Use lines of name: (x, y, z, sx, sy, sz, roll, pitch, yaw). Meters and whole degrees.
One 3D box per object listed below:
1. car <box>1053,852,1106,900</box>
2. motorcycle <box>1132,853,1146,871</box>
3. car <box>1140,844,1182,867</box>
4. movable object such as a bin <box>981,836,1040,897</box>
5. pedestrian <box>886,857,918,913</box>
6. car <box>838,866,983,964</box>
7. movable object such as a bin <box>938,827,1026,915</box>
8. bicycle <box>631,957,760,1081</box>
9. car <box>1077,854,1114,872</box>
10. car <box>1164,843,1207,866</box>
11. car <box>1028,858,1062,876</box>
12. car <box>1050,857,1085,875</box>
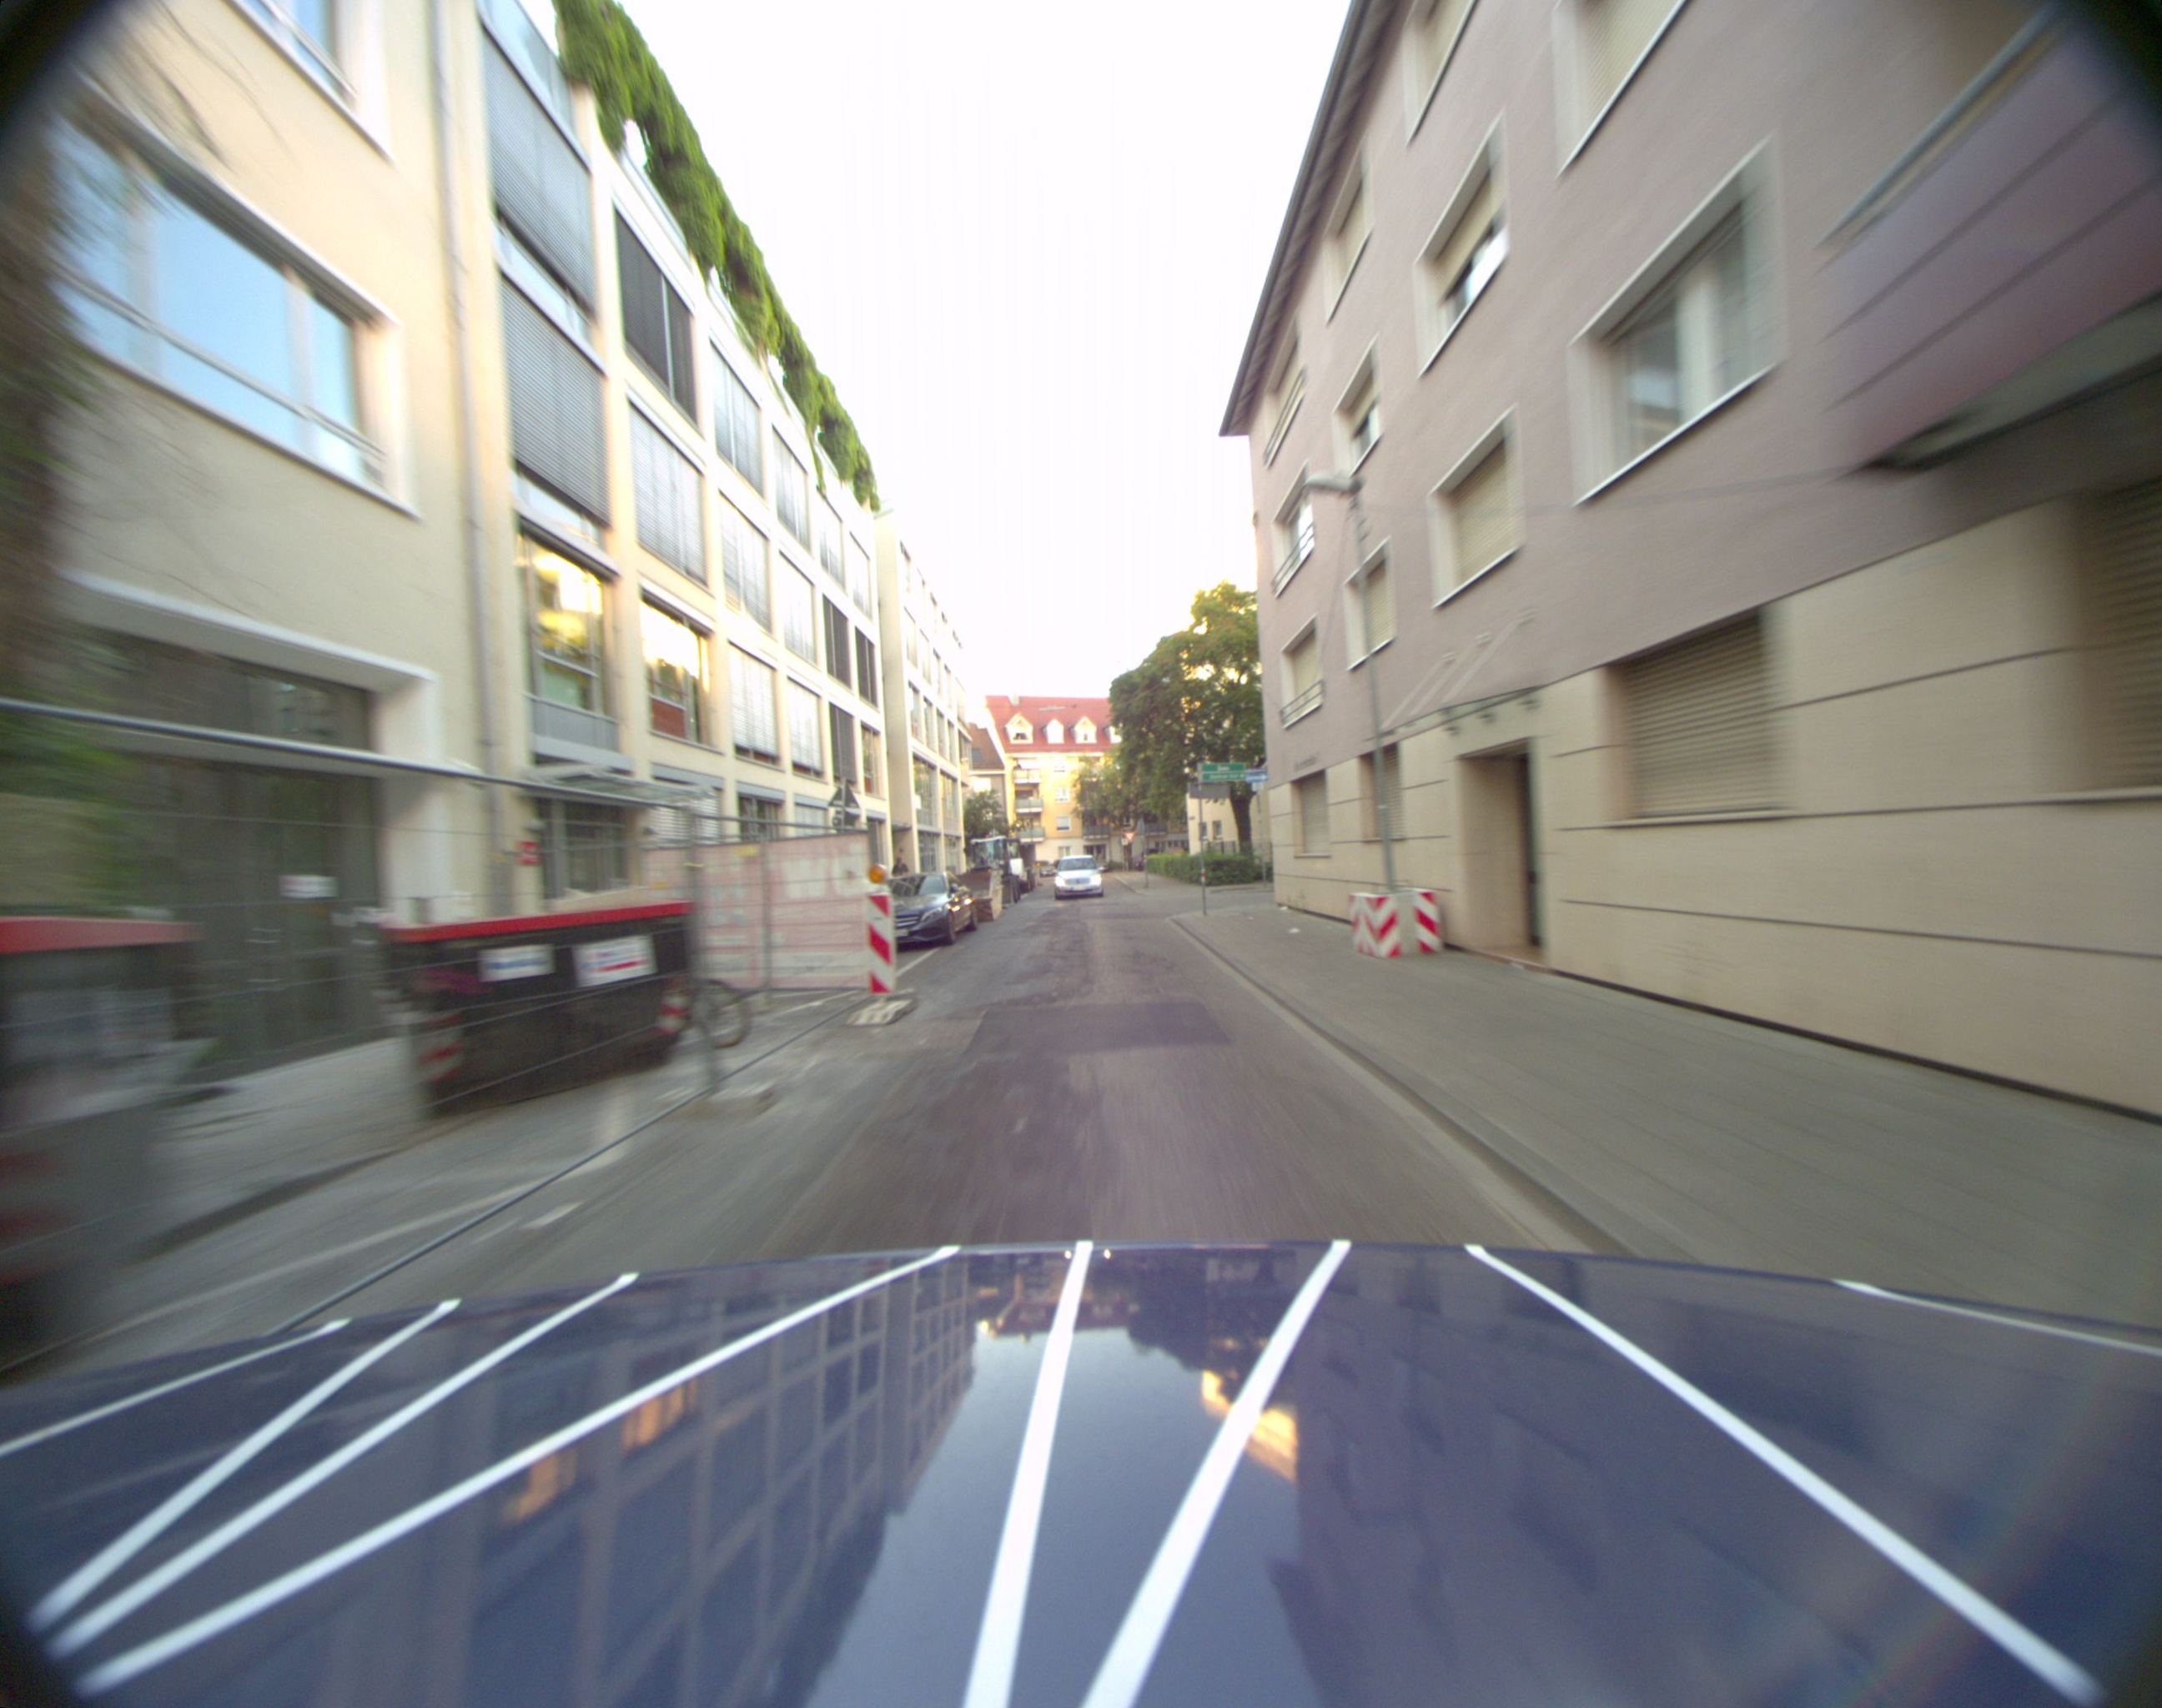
car: (-0.027, 0.797, 28.981, 1.804, 1.607, 4.273, -2, -1, 1)
motorcycle: (4.628, 0.592, 60.298, 0.858, 1.345, 1.960, -3, 0, 10)
car: (7.696, 0.103, 73.664, 2.231, 2.065, 4.320, -3, 2, -22)
movable object such as a bin: (-3.383, 0.547, 37.471, 2.021, 2.608, 5.750, -6, 0, 1)
pedestrian: (-6.071, 1.039, 25.775, 0.807, 1.809, 0.722, -3, 1, 0)
car: (-3.252, 1.098, 15.464, 1.792, 1.463, 4.445, -5, 0, 0)
movable object such as a bin: (-3.345, 0.556, 26.970, 2.021, 2.608, 5.751, -6, 0, 1)
bicycle: (-3.631, 1.473, 7.079, 1.803, 0.903, 0.460, -5, 0, 44)
car: (1.333, 0.824, 71.361, 1.829, 1.460, 4.320, -3, 2, -22)
car: (10.157, -0.012, 74.254, 2.231, 2.065, 4.320, -3, 2, -22)
car: (-3.307, 1.175, 69.376, 1.749, 1.395, 4.238, -3, 2, -22)
car: (-1.300, 1.084, 70.366, 1.749, 1.494, 4.238, -3, 2, -22)
